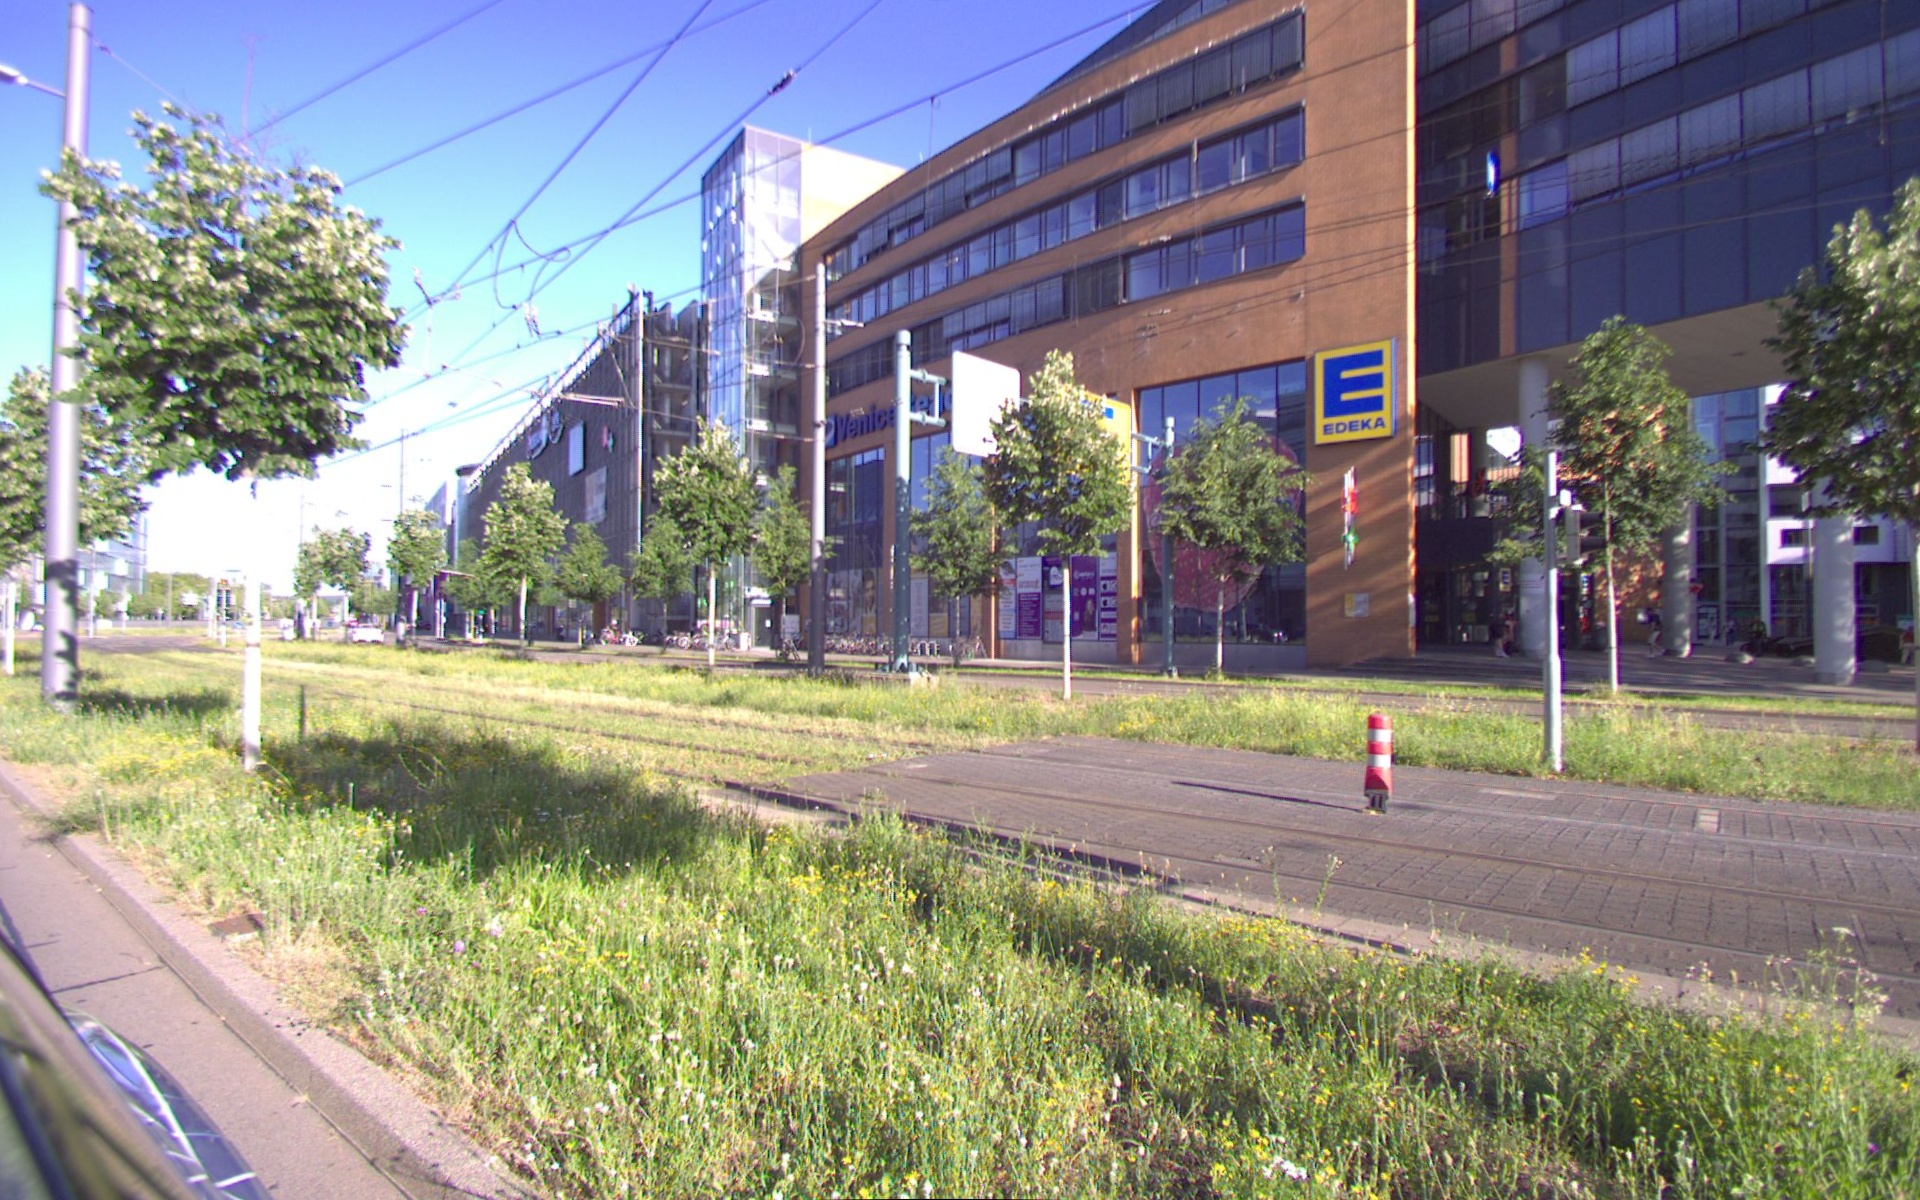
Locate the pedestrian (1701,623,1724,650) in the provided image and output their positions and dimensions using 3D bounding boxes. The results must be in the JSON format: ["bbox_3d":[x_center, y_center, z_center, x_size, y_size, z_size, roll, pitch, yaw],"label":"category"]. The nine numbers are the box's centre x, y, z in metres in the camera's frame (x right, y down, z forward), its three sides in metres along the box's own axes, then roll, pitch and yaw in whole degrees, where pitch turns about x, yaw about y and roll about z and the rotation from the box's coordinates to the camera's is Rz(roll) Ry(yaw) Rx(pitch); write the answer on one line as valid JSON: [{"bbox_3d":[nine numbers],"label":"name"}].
[{"bbox_3d":[42.788,2.050,57.543,1.038,1.491,0.660,0,0,-32],"label":"pedestrian"}]

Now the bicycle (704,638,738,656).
[{"bbox_3d":[-13.099,2.570,55.534,1.741,0.933,0.566,1,-2,-33],"label":"bicycle"}]

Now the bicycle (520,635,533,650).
[{"bbox_3d":[-27.261,2.672,63.636,0.380,0.930,1.775,1,-2,-36],"label":"bicycle"}]

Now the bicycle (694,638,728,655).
[{"bbox_3d":[-13.987,2.588,56.846,1.741,0.933,0.566,1,-2,-33],"label":"bicycle"}]

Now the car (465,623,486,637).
[{"bbox_3d":[-56.652,3.546,118.278,1.559,1.541,3.759,0,0,-37],"label":"car"}]

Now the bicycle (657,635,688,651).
[{"bbox_3d":[-17.738,2.659,62.408,1.741,0.933,0.492,1,-2,-33],"label":"bicycle"}]

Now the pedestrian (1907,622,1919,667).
[{"bbox_3d":[37.593,1.719,39.208,0.778,1.720,1.113,0,0,-32],"label":"pedestrian"}]

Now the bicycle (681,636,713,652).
[{"bbox_3d":[-15.409,2.560,59.237,1.741,0.933,0.492,1,-2,-33],"label":"bicycle"}]

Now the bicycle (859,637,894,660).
[{"bbox_3d":[-3.994,2.313,48.464,1.744,1.057,0.491,1,-2,-42],"label":"bicycle"}]

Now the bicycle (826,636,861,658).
[{"bbox_3d":[-5.810,2.346,50.477,1.744,1.057,0.491,1,-2,-42],"label":"bicycle"}]

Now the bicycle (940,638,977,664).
[{"bbox_3d":[-0.051,2.197,43.594,1.744,1.057,0.491,1,-2,-42],"label":"bicycle"}]

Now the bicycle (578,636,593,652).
[{"bbox_3d":[-22.570,2.647,61.019,0.380,0.875,1.775,1,-2,-36],"label":"bicycle"}]

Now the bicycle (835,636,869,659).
[{"bbox_3d":[-5.327,2.337,49.985,1.744,1.057,0.491,1,-2,-42],"label":"bicycle"}]

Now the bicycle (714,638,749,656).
[{"bbox_3d":[-12.351,2.557,54.713,1.741,0.933,0.566,1,-2,-33],"label":"bicycle"}]

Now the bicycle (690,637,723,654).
[{"bbox_3d":[-14.370,2.595,57.397,1.741,0.933,0.566,1,-2,-33],"label":"bicycle"}]

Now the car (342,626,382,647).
[{"bbox_3d":[-39.360,2.371,66.541,1.782,1.338,4.415,2,-2,-36],"label":"car"}]

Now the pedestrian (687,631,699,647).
[{"bbox_3d":[-17.775,2.599,67.418,0.619,1.063,0.450,1,-2,-36],"label":"pedestrian"}]

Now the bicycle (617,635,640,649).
[{"bbox_3d":[-22.043,2.781,67.349,1.377,0.933,0.463,1,-2,-33],"label":"bicycle"}]

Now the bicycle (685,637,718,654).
[{"bbox_3d":[-14.812,2.603,57.991,1.741,0.933,0.566,1,-2,-33],"label":"bicycle"}]

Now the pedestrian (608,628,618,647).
[{"bbox_3d":[-23.859,2.585,69.583,0.442,1.299,0.631,1,-2,-36],"label":"pedestrian"}]

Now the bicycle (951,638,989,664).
[{"bbox_3d":[0.438,2.156,43.121,1.744,1.057,0.491,1,-2,-42],"label":"bicycle"}]

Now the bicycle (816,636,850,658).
[{"bbox_3d":[-6.402,2.356,51.098,1.744,1.057,0.491,1,-2,-42],"label":"bicycle"}]

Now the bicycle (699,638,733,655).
[{"bbox_3d":[-13.563,2.579,56.192,1.741,0.933,0.566,1,-2,-33],"label":"bicycle"}]

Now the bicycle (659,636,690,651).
[{"bbox_3d":[-17.431,2.654,61.876,1.741,0.933,0.492,1,-2,-33],"label":"bicycle"}]

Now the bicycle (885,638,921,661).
[{"bbox_3d":[-2.614,2.289,46.912,1.744,1.057,0.491,1,-2,-42],"label":"bicycle"}]

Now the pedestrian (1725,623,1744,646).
[{"bbox_3d":[44.280,1.951,57.891,0.627,1.287,0.664,0,0,-32],"label":"pedestrian"}]

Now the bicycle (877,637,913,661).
[{"bbox_3d":[-3.048,2.296,47.423,1.744,1.057,0.491,1,-2,-42],"label":"bicycle"}]

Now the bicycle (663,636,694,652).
[{"bbox_3d":[-17.067,2.647,61.317,1.741,0.933,0.566,1,-2,-33],"label":"bicycle"}]

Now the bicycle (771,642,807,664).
[{"bbox_3d":[-7.089,2.193,41.874,1.771,0.875,0.458,-1,-2,42],"label":"bicycle"}]

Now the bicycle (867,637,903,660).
[{"bbox_3d":[-3.551,2.305,47.941,1.744,1.057,0.491,1,-2,-42],"label":"bicycle"}]

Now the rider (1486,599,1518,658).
[{"bbox_3d":[17.012,0.891,31.761,0.712,1.816,0.710,-1,-2,42],"label":"rider"}]

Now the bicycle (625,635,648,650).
[{"bbox_3d":[-21.146,2.765,66.218,1.377,0.933,0.463,1,-2,-33],"label":"bicycle"}]

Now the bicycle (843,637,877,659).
[{"bbox_3d":[-4.881,2.329,49.440,1.744,1.057,0.491,1,-2,-42],"label":"bicycle"}]

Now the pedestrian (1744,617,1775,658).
[{"bbox_3d":[34.428,1.602,43.585,0.778,1.720,0.810,0,0,-32],"label":"pedestrian"}]

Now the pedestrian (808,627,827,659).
[{"bbox_3d":[-7.425,2.226,52.706,0.736,1.681,0.676,1,-2,-43],"label":"pedestrian"}]

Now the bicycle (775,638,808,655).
[{"bbox_3d":[-9.291,2.569,55.861,1.741,0.933,0.566,1,-2,-33],"label":"bicycle"}]

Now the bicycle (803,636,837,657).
[{"bbox_3d":[-7.212,2.371,52.082,1.744,1.057,0.491,1,-2,-42],"label":"bicycle"}]

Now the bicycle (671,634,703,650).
[{"bbox_3d":[-16.277,2.520,60.383,1.741,0.933,0.492,1,-2,-33],"label":"bicycle"}]

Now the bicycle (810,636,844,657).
[{"bbox_3d":[-6.781,2.363,51.577,1.744,1.057,0.491,1,-2,-42],"label":"bicycle"}]
